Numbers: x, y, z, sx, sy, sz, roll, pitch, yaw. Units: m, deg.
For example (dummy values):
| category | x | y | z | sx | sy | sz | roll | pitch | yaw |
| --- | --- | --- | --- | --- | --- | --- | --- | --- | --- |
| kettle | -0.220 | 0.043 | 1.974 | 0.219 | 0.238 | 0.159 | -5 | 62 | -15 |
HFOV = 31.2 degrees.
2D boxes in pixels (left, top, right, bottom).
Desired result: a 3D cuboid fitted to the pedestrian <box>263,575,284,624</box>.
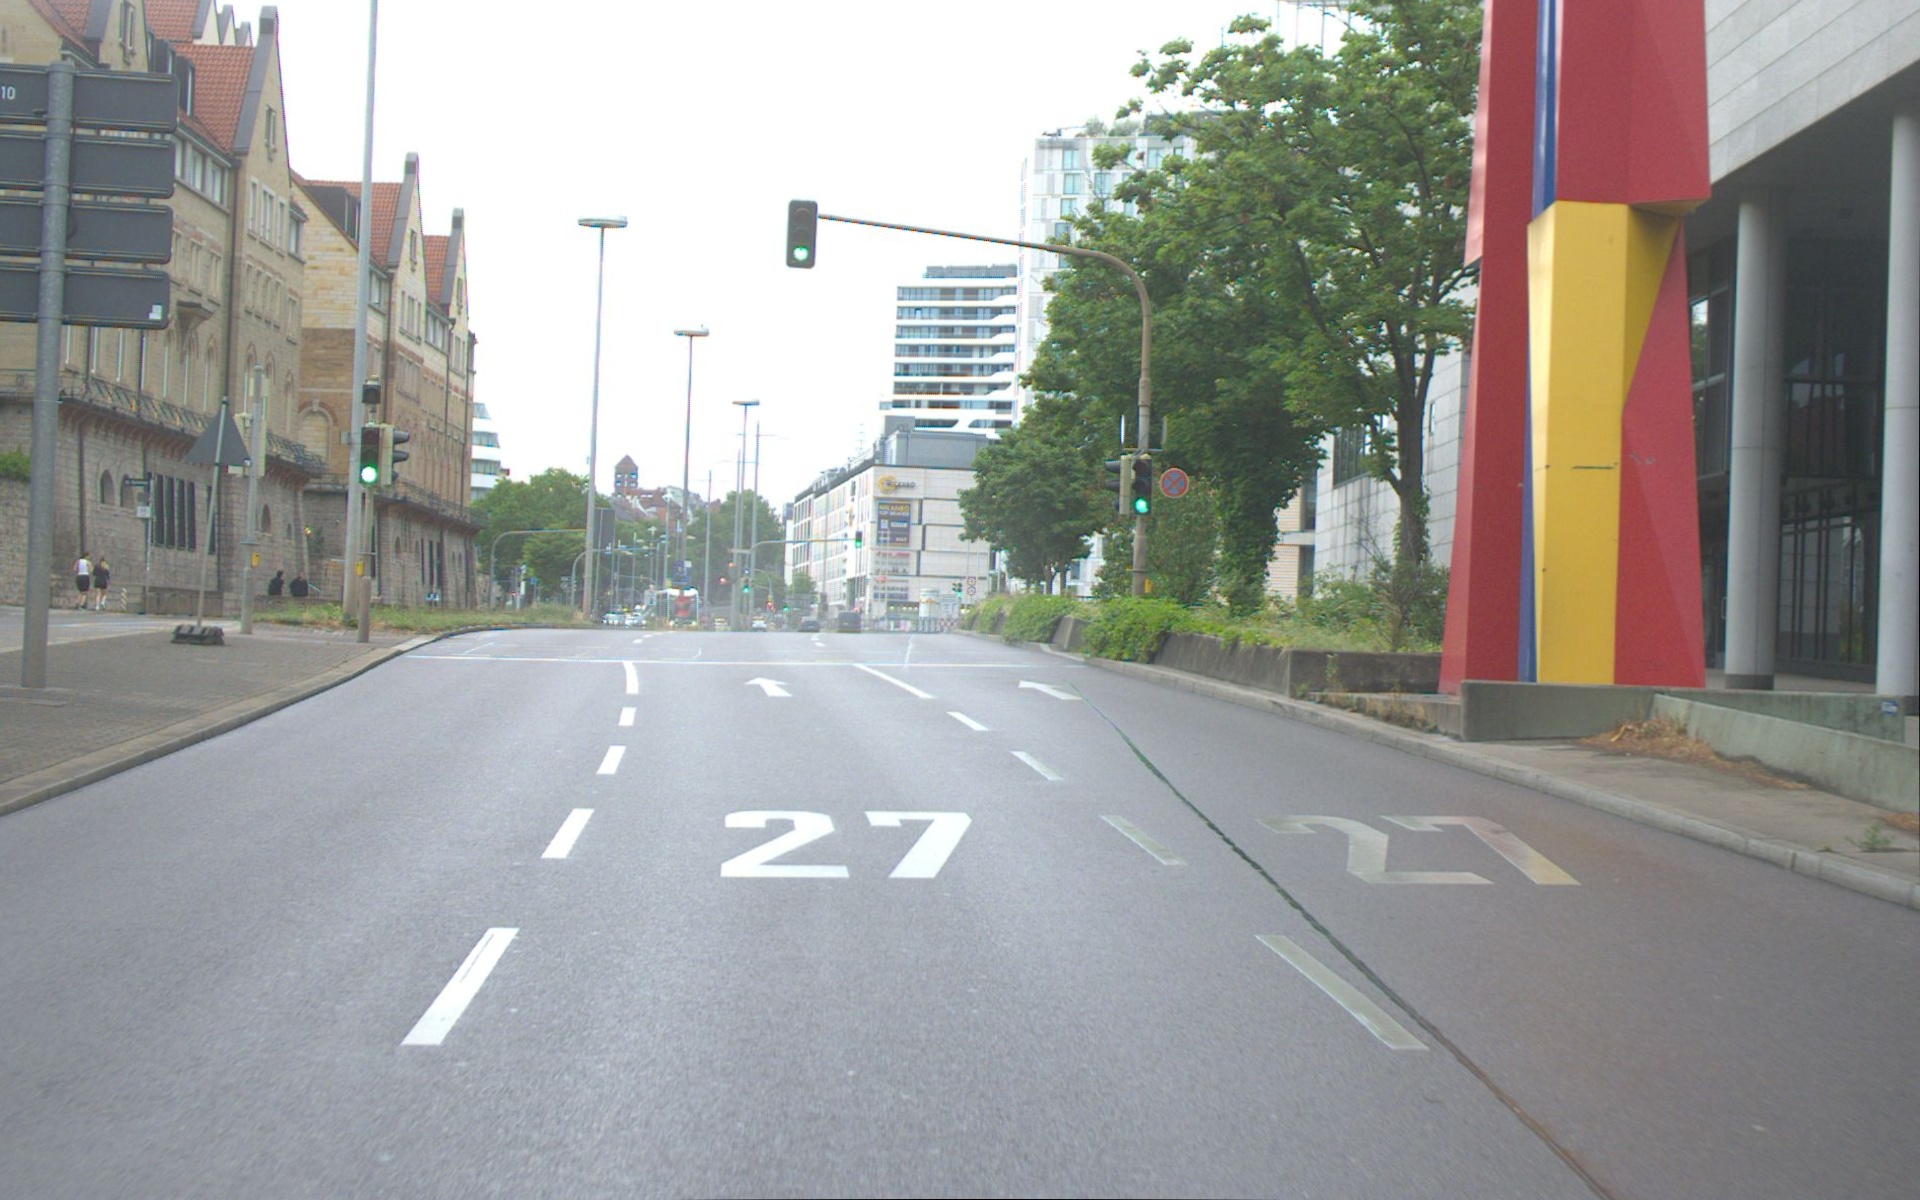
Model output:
| category | x | y | z | sx | sy | sz | roll | pitch | yaw |
| --- | --- | --- | --- | --- | --- | --- | --- | --- | --- |
| pedestrian | -24.691 | -0.022 | 123.626 | 0.640 | 1.740 | 0.621 | 1 | 1 | -3 |

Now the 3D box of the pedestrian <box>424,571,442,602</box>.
| category | x | y | z | sx | sy | sz | roll | pitch | yaw |
| --- | --- | --- | --- | --- | --- | --- | --- | --- | --- |
| pedestrian | -25.409 | -0.634 | 165.716 | 0.754 | 1.473 | 0.714 | 1 | 1 | -1 |

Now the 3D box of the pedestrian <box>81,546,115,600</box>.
| category | x | y | z | sx | sy | sz | roll | pitch | yaw |
| --- | --- | --- | --- | --- | --- | --- | --- | --- | --- |
| pedestrian | -23.969 | -0.757 | 95.618 | 0.754 | 1.473 | 0.714 | 1 | 1 | -1 |

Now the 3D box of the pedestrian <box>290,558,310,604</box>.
| category | x | y | z | sx | sy | sz | roll | pitch | yaw |
| --- | --- | --- | --- | --- | --- | --- | --- | --- | --- |
| pedestrian | -24.979 | -0.728 | 130.096 | 0.640 | 1.740 | 0.621 | 1 | 1 | -3 |
